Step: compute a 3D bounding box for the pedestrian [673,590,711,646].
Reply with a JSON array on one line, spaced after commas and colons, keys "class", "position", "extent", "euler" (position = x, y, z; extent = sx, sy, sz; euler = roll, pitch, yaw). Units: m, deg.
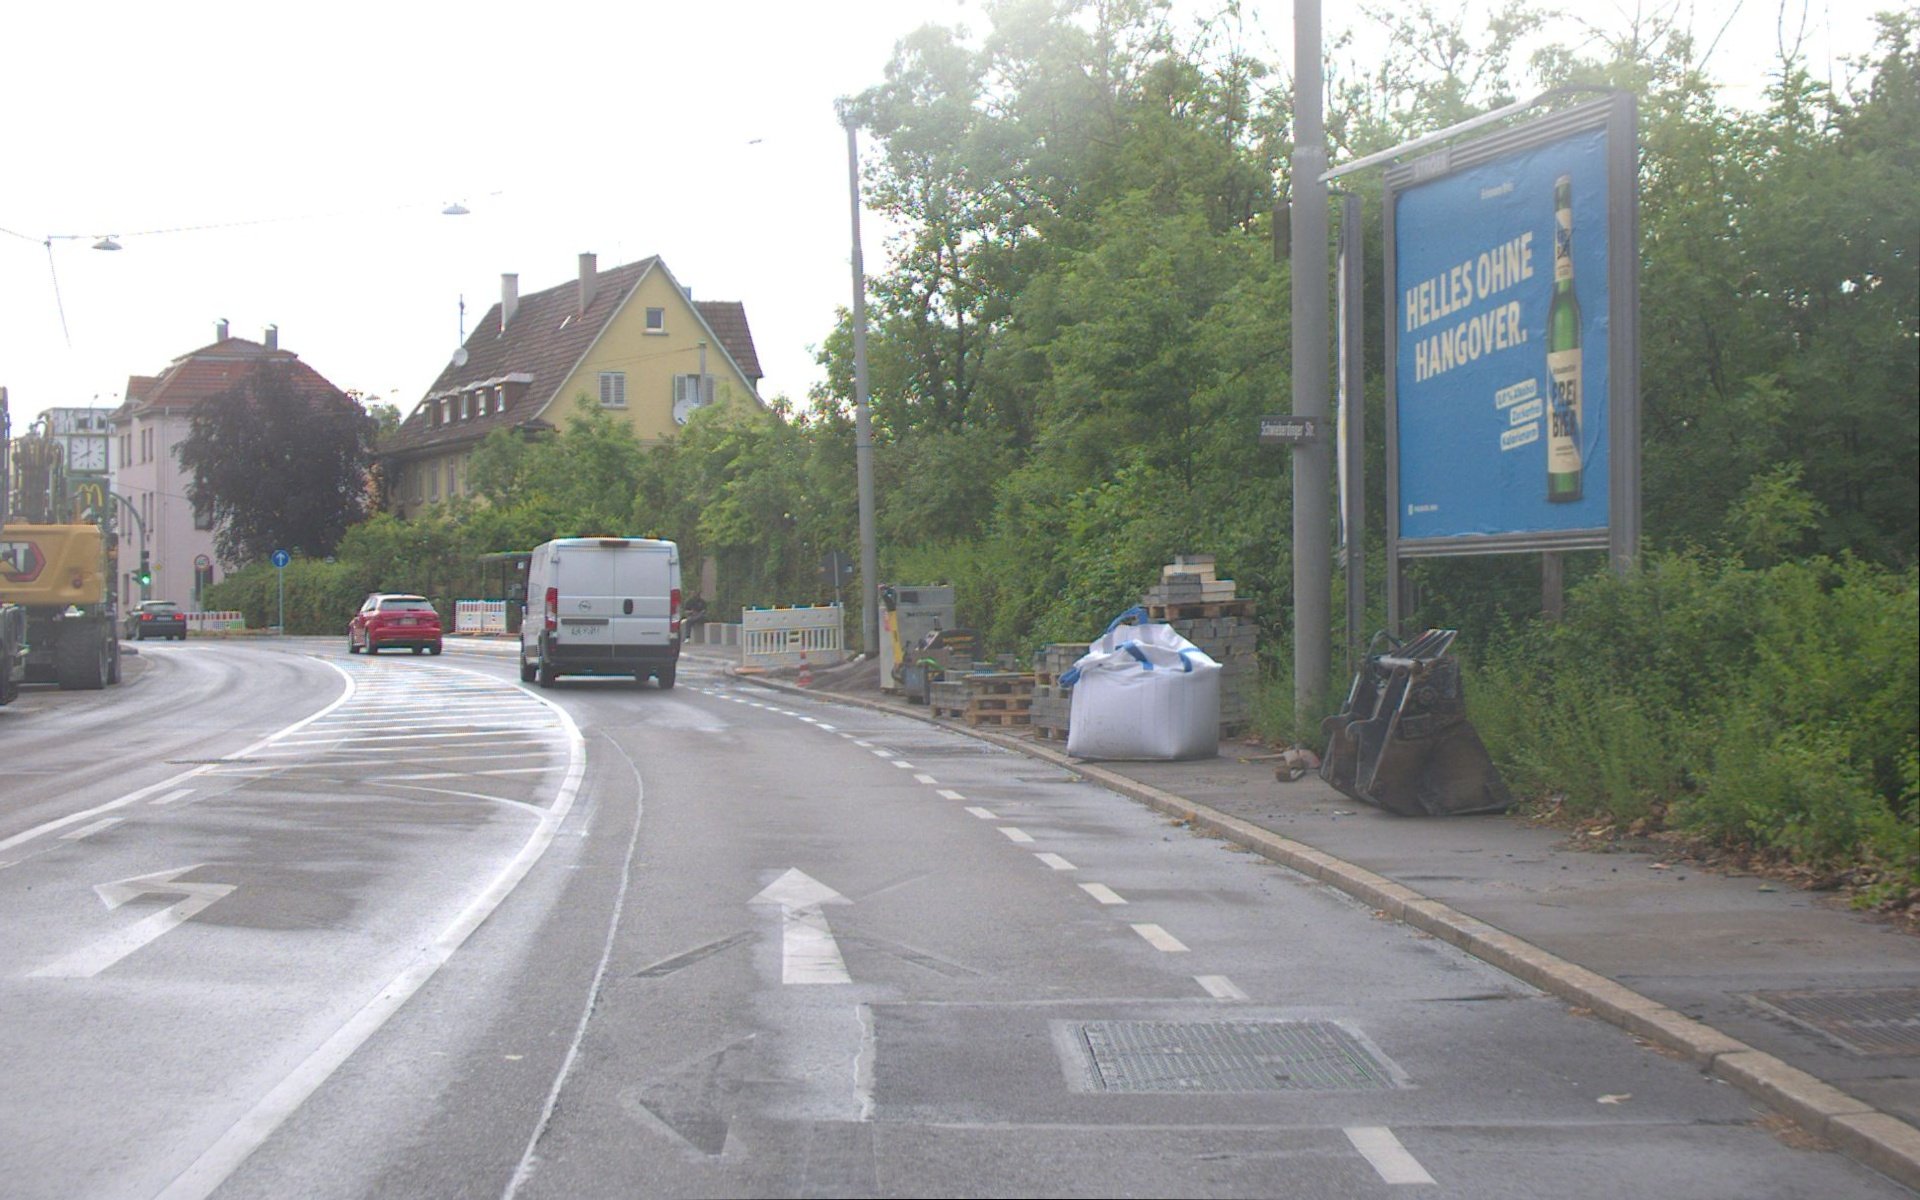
[{"class": "pedestrian", "position": [-6.750, 0.453, 86.577], "extent": [0.878, 1.363, 1.066], "euler": [1, 2, -8]}]

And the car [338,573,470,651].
[{"class": "car", "position": [-13.398, 0.269, 82.677], "extent": [2.237, 1.651, 4.715], "euler": [1, 2, -20]}]

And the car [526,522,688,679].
[{"class": "car", "position": [-5.481, -0.036, 52.838], "extent": [2.237, 2.205, 4.715], "euler": [1, 2, -8]}]

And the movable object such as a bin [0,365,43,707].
[{"class": "movable object such as a bin", "position": [-12.126, -0.729, 38.249], "extent": [2.774, 3.842, 5.989], "euler": [1, 2, -6]}]

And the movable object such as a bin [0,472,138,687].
[{"class": "movable object such as a bin", "position": [-14.341, -0.383, 53.082], "extent": [2.870, 3.162, 4.127], "euler": [1, 2, -10]}]

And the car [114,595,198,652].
[{"class": "car", "position": [-28.614, 0.817, 122.323], "extent": [2.237, 1.798, 4.715], "euler": [1, 2, -21]}]
